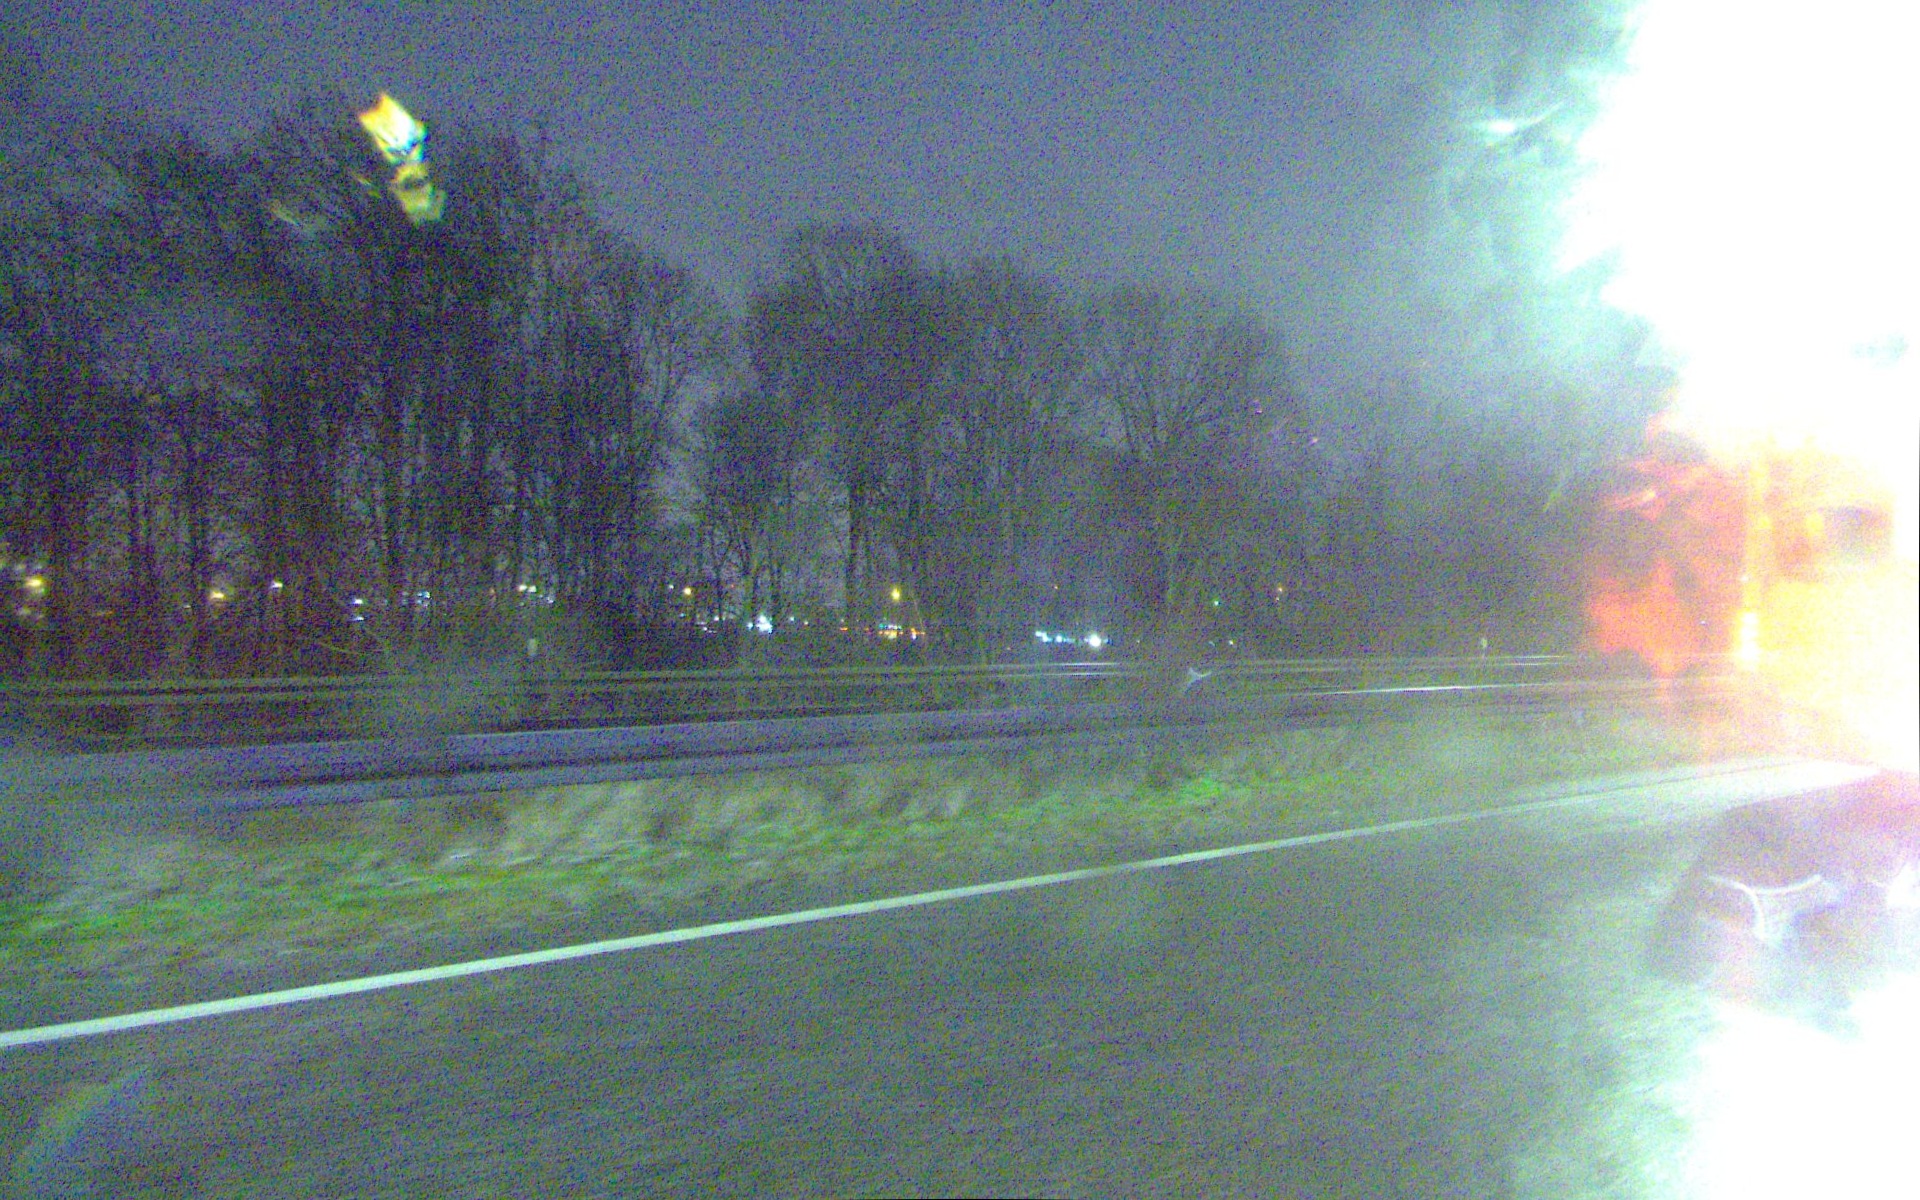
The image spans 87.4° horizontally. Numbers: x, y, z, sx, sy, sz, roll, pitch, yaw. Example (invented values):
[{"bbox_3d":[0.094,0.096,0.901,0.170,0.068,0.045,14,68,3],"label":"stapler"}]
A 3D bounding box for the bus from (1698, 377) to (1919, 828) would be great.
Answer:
[{"bbox_3d":[10.642,0.079,9.374,9.096,3.165,2.729,1,1,-31],"label":"bus"}]
